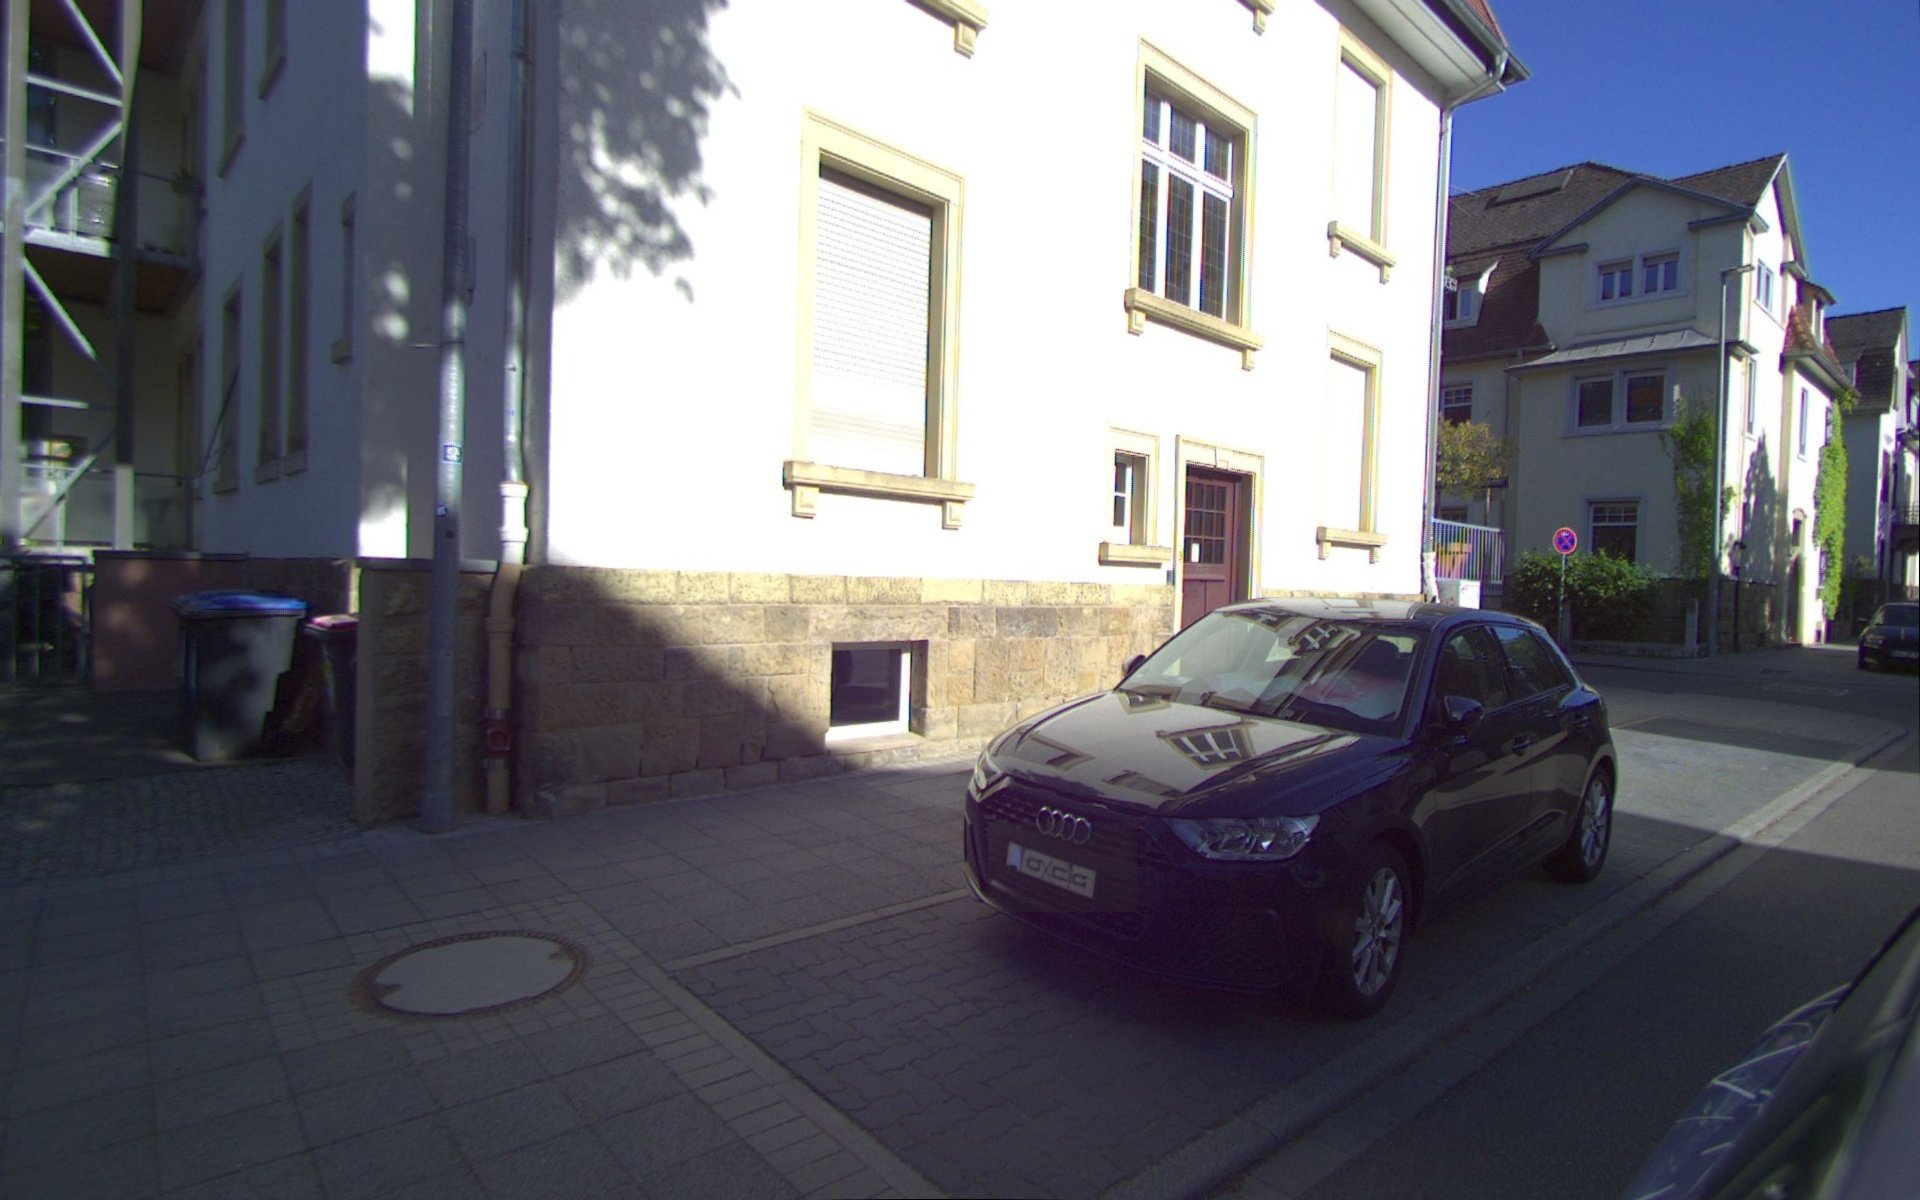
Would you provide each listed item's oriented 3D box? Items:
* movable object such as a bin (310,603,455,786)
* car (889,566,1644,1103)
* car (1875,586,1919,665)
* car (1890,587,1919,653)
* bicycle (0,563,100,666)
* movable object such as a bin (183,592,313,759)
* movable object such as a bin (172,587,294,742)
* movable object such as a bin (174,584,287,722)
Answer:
[{"bbox_3d":[-3.687,0.565,6.465,0.685,1.076,0.556,-1,0,-44],"label":"movable object such as a bin"},{"bbox_3d":[1.706,0.658,4.787,3.868,1.457,1.622,0,4,-43],"label":"car"},{"bbox_3d":[21.122,0.518,21.895,3.936,1.538,1.664,-2,4,-44],"label":"car"},{"bbox_3d":[25.162,0.491,25.704,4.291,1.538,1.795,-1,4,-41],"label":"car"},{"bbox_3d":[-9.882,0.122,10.911,1.900,1.013,0.360,2,2,32],"label":"bicycle"},{"bbox_3d":[-4.852,0.481,6.898,0.644,1.064,0.556,-1,0,-44],"label":"movable object such as a bin"},{"bbox_3d":[-5.285,0.439,7.358,0.644,1.057,0.553,-1,0,-44],"label":"movable object such as a bin"},{"bbox_3d":[-5.680,0.387,7.880,0.644,1.015,0.518,-1,0,-44],"label":"movable object such as a bin"}]
